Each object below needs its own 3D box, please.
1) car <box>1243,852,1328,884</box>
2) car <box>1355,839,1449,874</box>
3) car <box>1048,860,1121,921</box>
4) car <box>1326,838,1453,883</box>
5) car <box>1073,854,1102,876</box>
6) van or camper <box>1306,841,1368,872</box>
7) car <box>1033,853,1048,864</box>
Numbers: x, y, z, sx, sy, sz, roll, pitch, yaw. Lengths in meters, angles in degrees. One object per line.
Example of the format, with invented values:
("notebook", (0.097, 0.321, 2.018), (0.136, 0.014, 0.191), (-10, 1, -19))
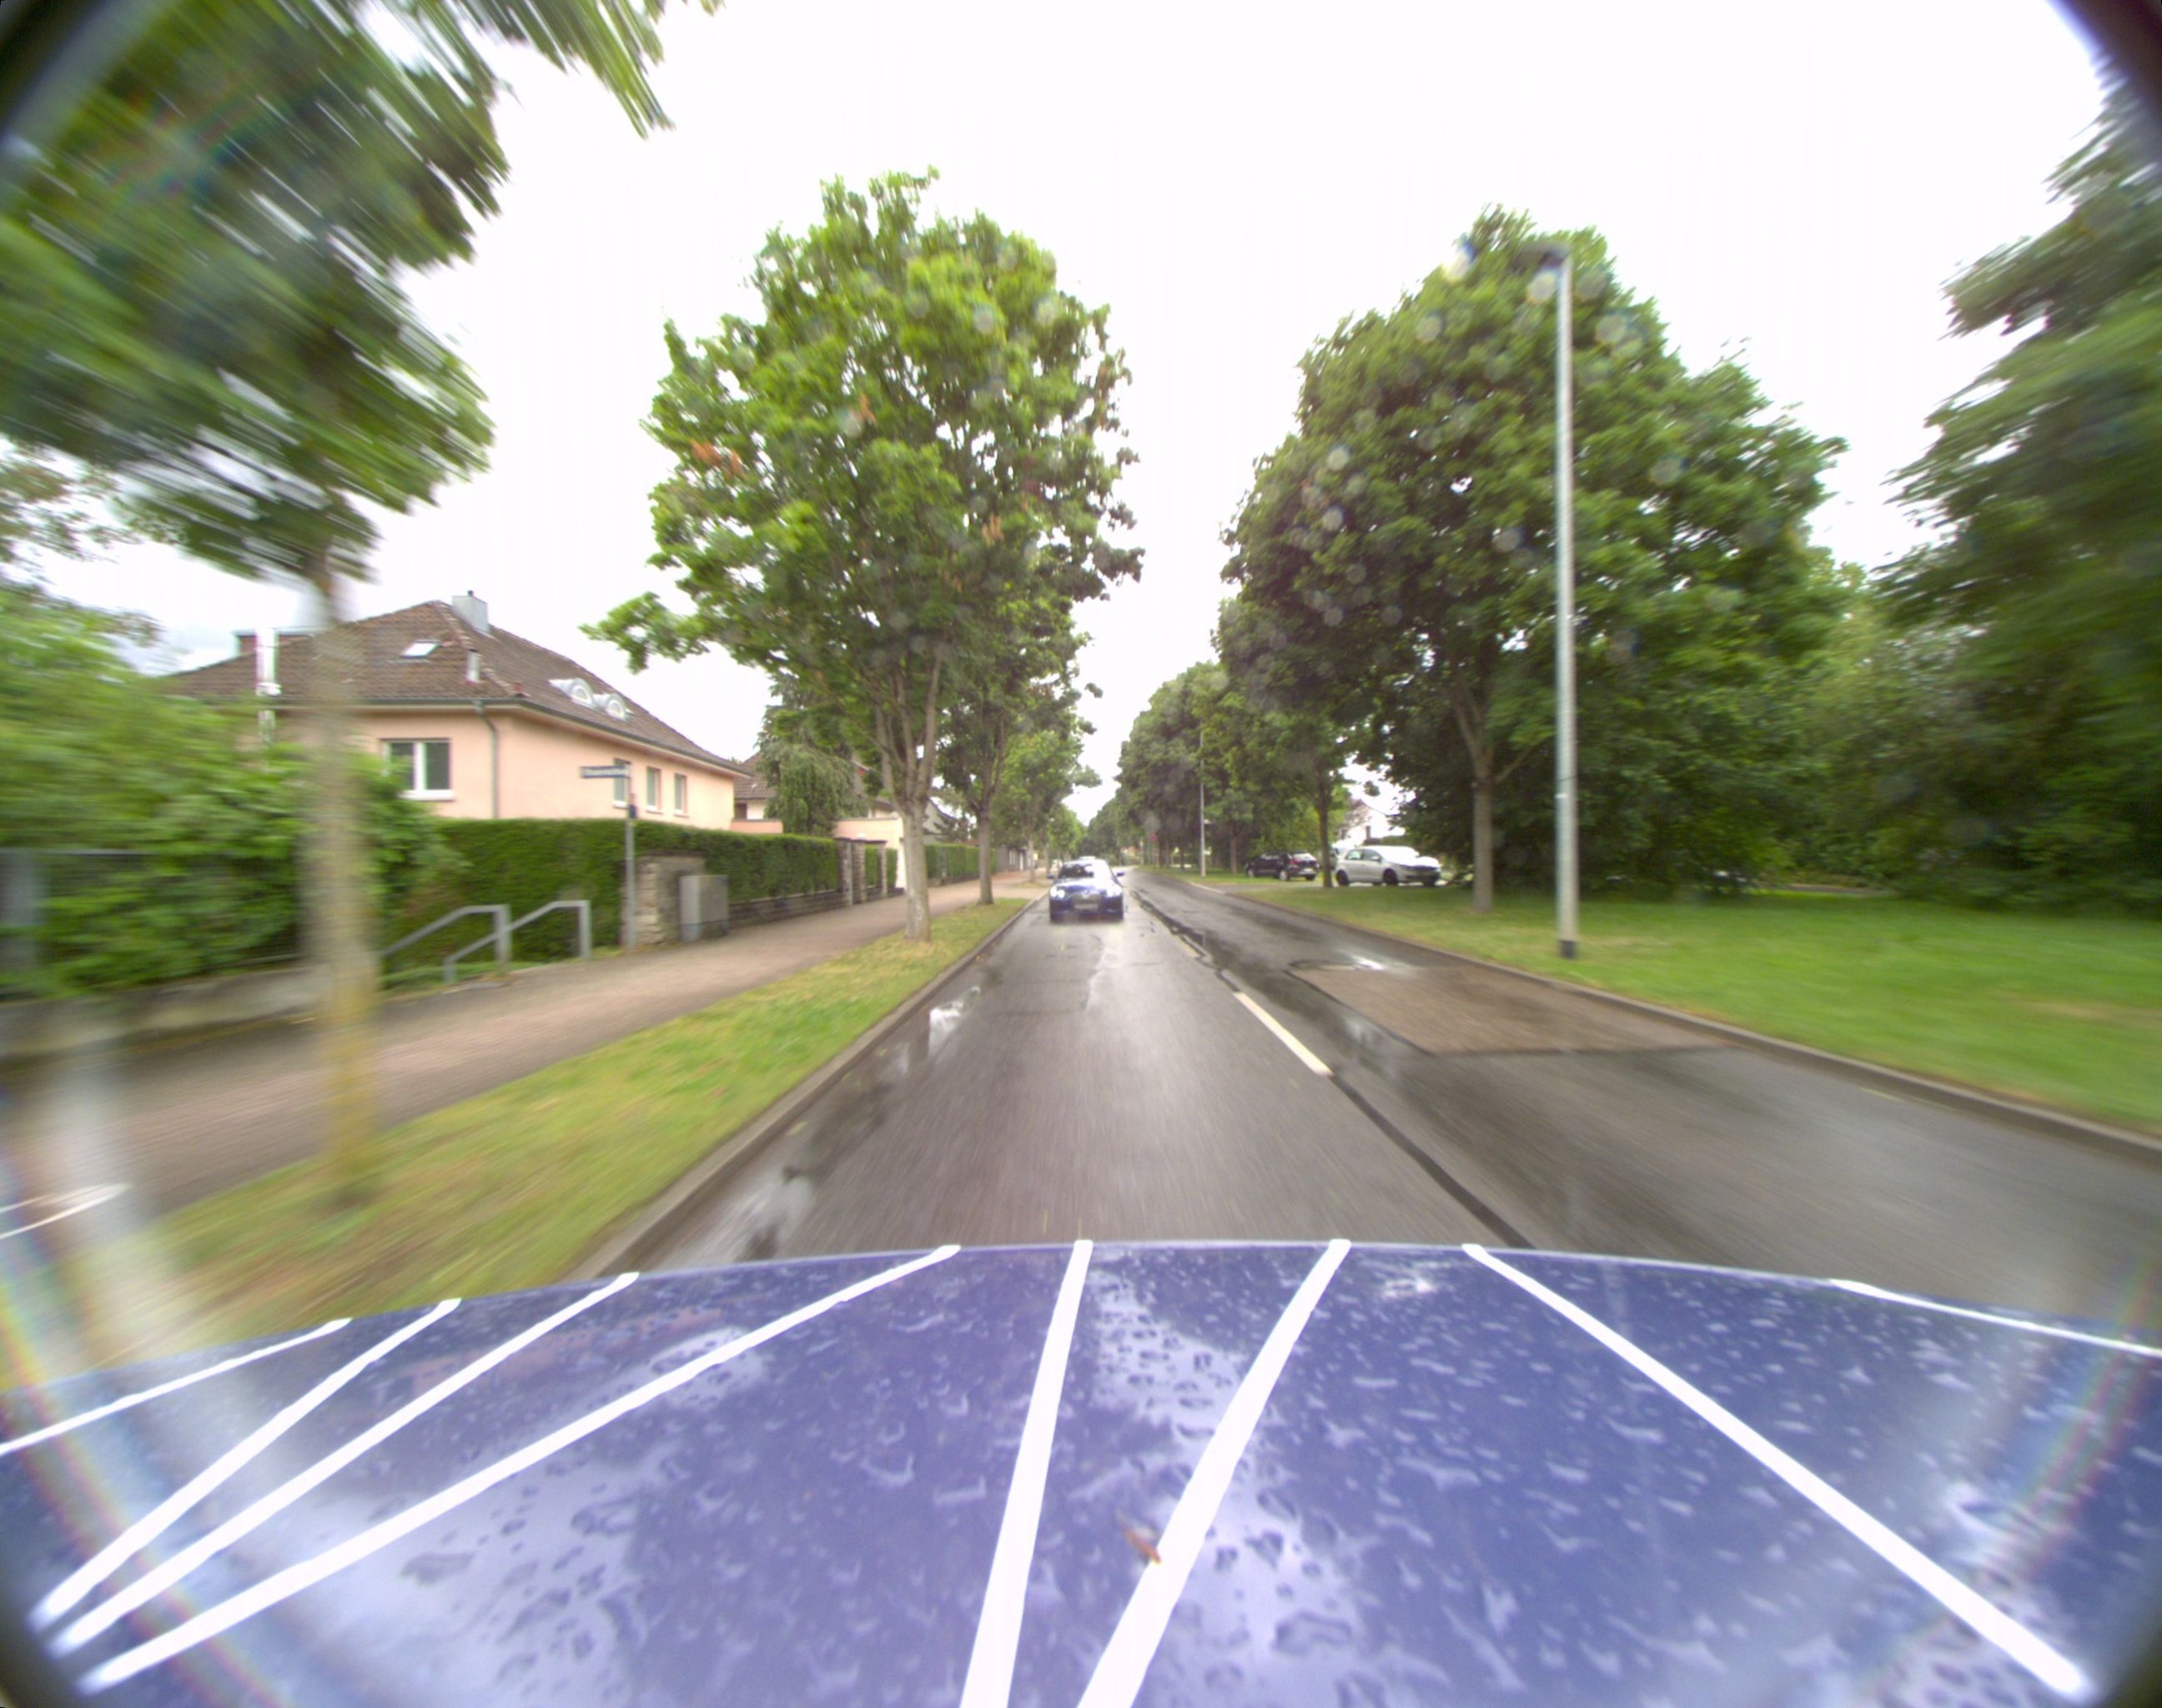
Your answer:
("car", (10.182, 0.651, 38.181), (1.897, 1.505, 4.241), (-1, 0, -24))
("car", (17.160, 0.070, 40.933), (1.911, 1.760, 4.889), (-1, 2, -19))
("car", (0.139, 0.949, 21.529), (1.815, 1.459, 3.975), (-2, 0, 1))
("car", (10.833, 0.291, 27.035), (1.888, 1.421, 4.212), (-1, -2, -17))
("car", (0.451, 0.740, 53.573), (1.929, 1.374, 4.307), (-3, 1, 0))
("van or camper", (20.023, 0.191, 59.838), (2.096, 2.322, 6.150), (-1, 0, -8))
("car", (-5.604, 0.629, 105.830), (1.666, 1.413, 4.000), (-3, 0, 1))
